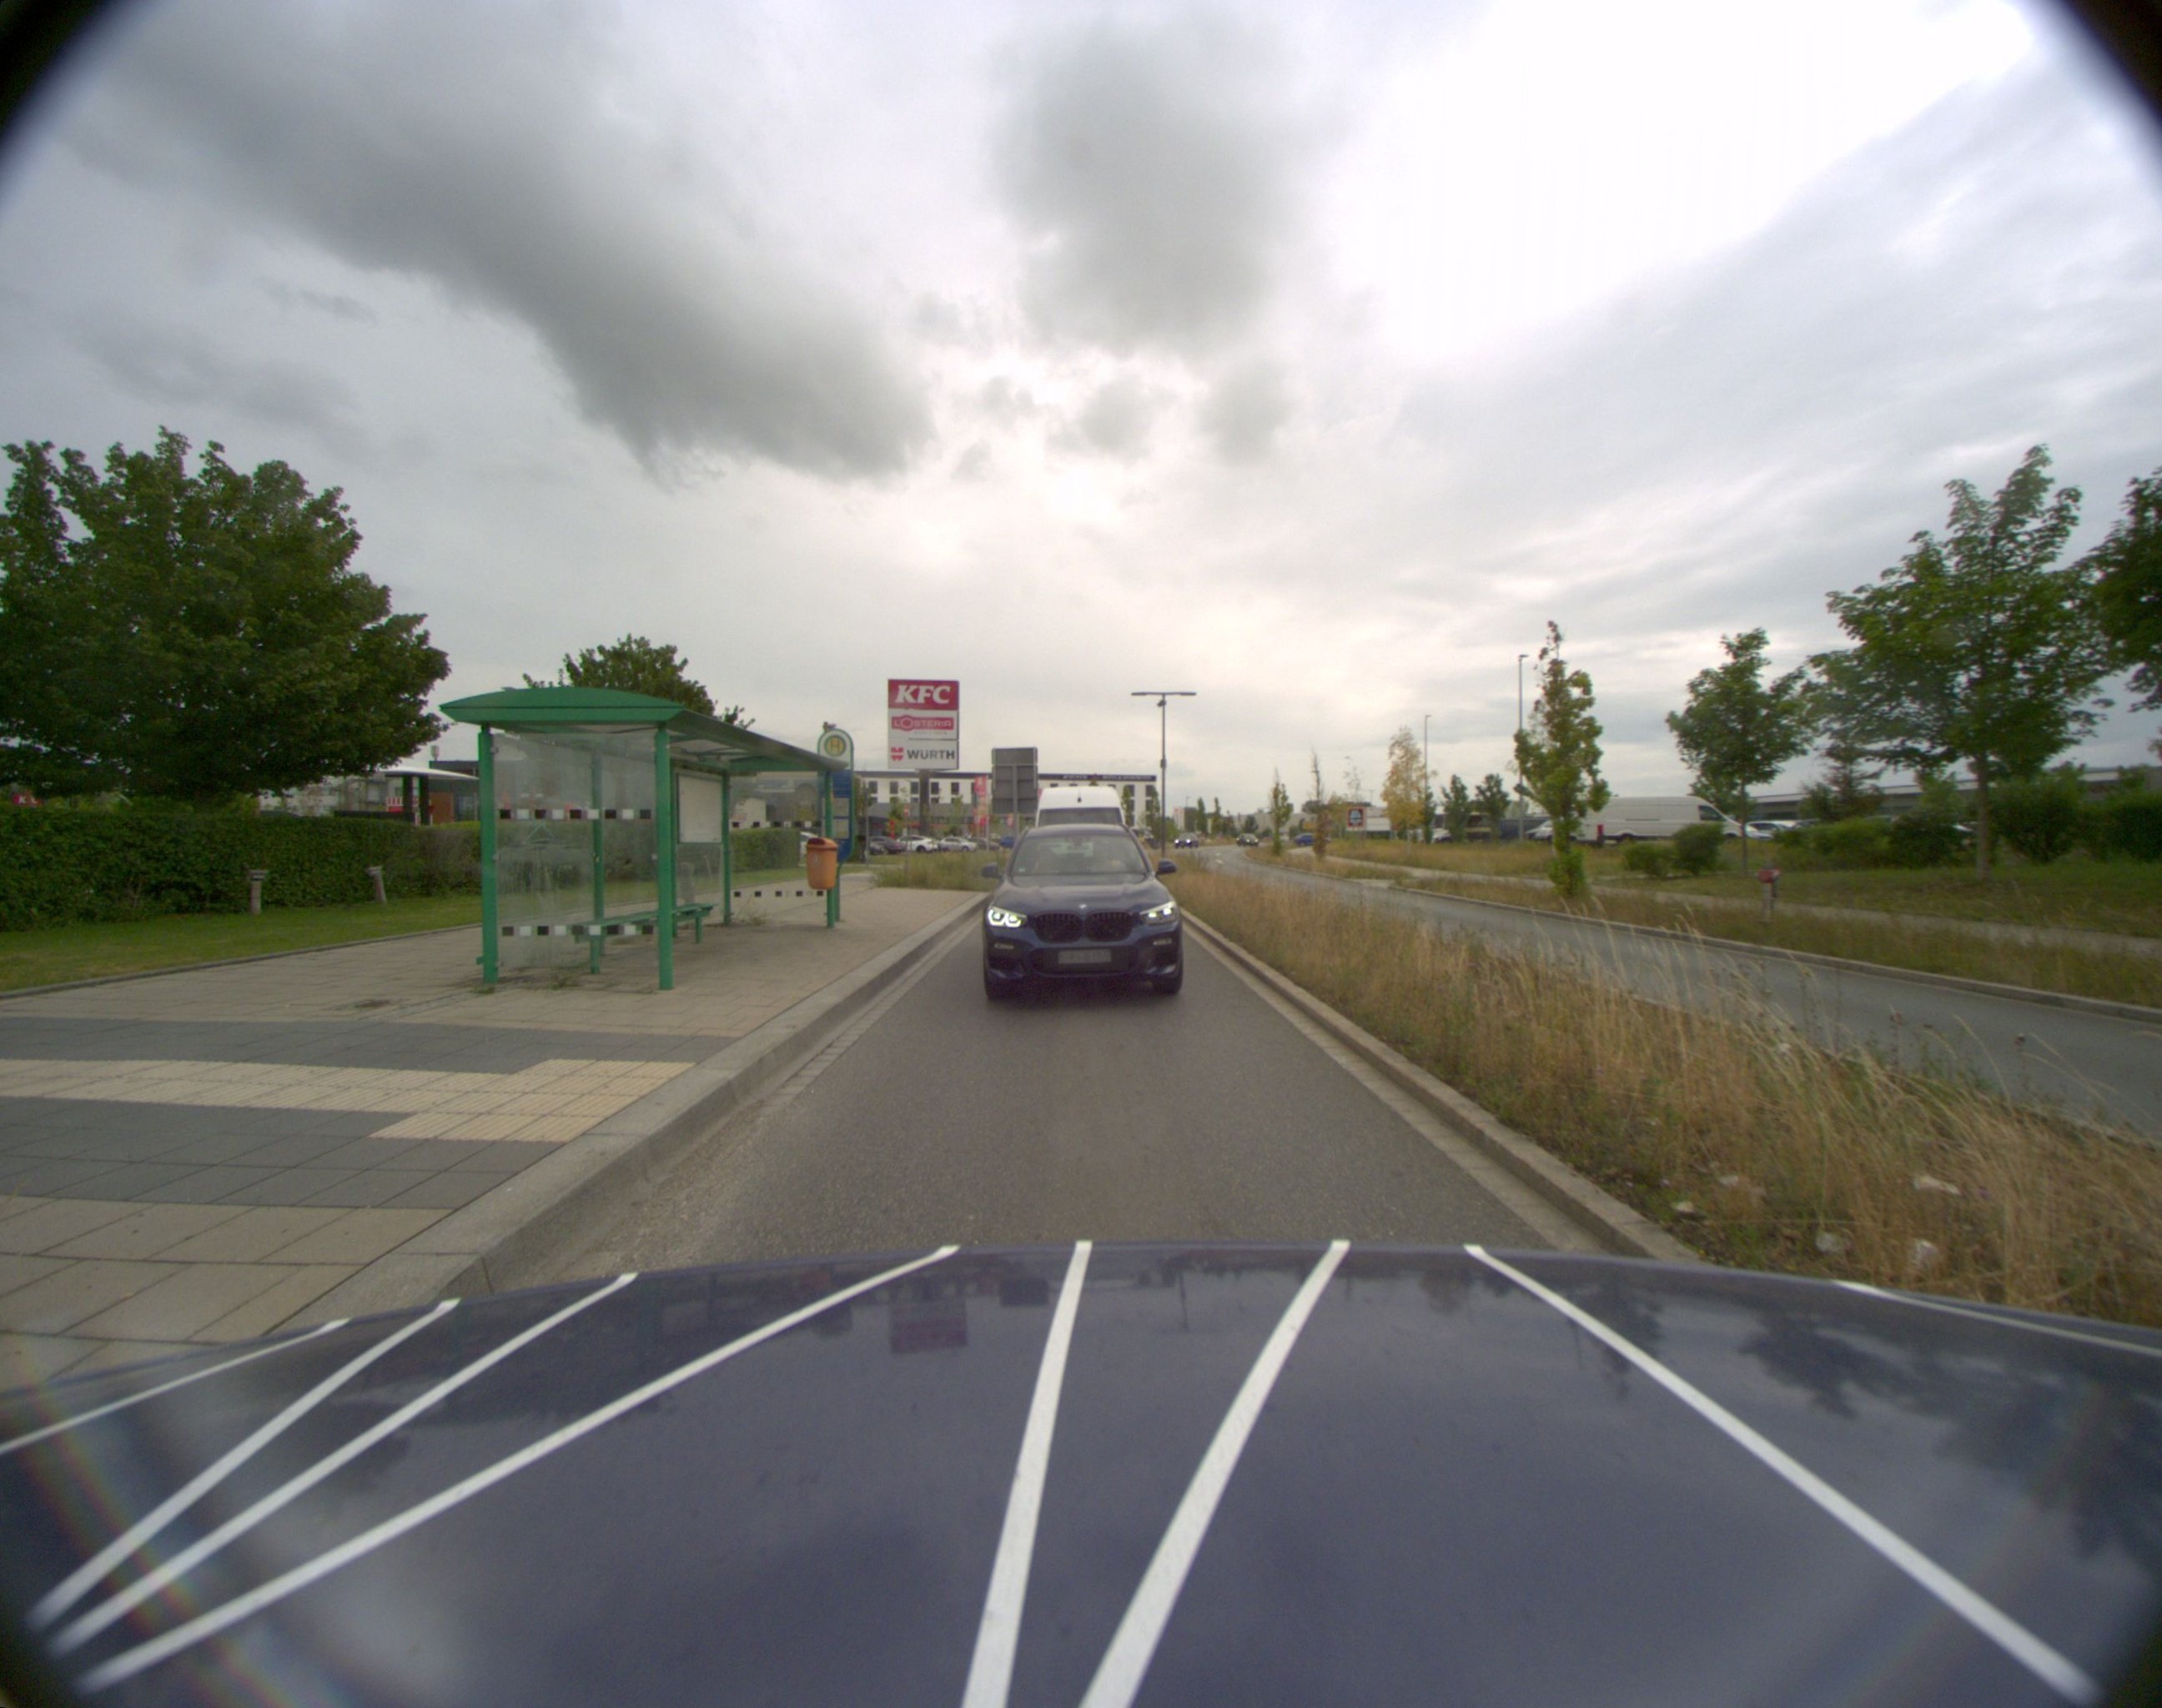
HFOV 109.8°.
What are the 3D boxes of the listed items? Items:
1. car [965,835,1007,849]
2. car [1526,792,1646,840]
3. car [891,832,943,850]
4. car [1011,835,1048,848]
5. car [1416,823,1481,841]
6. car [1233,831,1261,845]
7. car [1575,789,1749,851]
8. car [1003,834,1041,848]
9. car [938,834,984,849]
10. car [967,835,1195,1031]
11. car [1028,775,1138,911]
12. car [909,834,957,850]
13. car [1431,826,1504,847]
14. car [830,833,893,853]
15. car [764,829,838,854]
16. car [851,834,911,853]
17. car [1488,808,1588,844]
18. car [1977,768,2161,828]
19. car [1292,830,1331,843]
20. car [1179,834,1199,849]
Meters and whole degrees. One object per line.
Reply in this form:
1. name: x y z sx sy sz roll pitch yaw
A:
1. car: -9.932 -1.288 79.695 3.993 1.478 1.848 0 2 13
2. car: 27.013 -2.033 40.756 5.053 2.360 2.064 -2 3 0
3. car: -14.122 -1.123 65.485 3.994 1.514 1.848 0 2 8
4. car: -6.183 -1.525 91.553 3.992 1.478 1.849 -1 3 17
5. car: 34.070 -2.041 70.574 5.049 1.647 2.066 0 2 10
6. car: 20.543 -2.015 94.010 2.000 1.565 3.995 -2 2 -10
7. car: 27.161 -1.585 35.704 6.413 2.610 2.064 -2 3 4
8. car: -6.925 -1.549 88.938 3.992 1.478 1.849 -1 3 17
9. car: -11.855 -1.234 75.193 3.993 1.478 1.848 0 2 13
10. car: -0.016 0.601 8.231 1.867 1.599 3.998 0 1 -1
11. car: 0.009 -0.275 17.201 2.026 2.513 6.102 0 1 -1
12. car: -13.730 -1.118 70.639 3.994 1.478 1.848 0 2 8
13. car: 32.209 -1.449 63.465 5.049 1.647 2.066 0 2 10
14. car: -16.141 -0.810 55.948 3.994 1.478 1.848 0 2 8
15. car: -17.762 -0.819 48.362 3.997 1.519 1.847 0 2 1
16. car: -15.420 -0.820 58.663 3.994 1.478 1.848 0 2 8
17. car: 29.009 -1.734 48.365 5.050 2.211 2.065 0 2 7
18. car: 42.937 -2.355 32.934 2.064 2.360 5.053 -2 2 -4
19. car: 26.523 -1.990 87.502 3.995 1.504 1.735 0 2 6
20. car: 12.083 -1.401 85.011 1.997 1.565 4.002 -1 2 11
